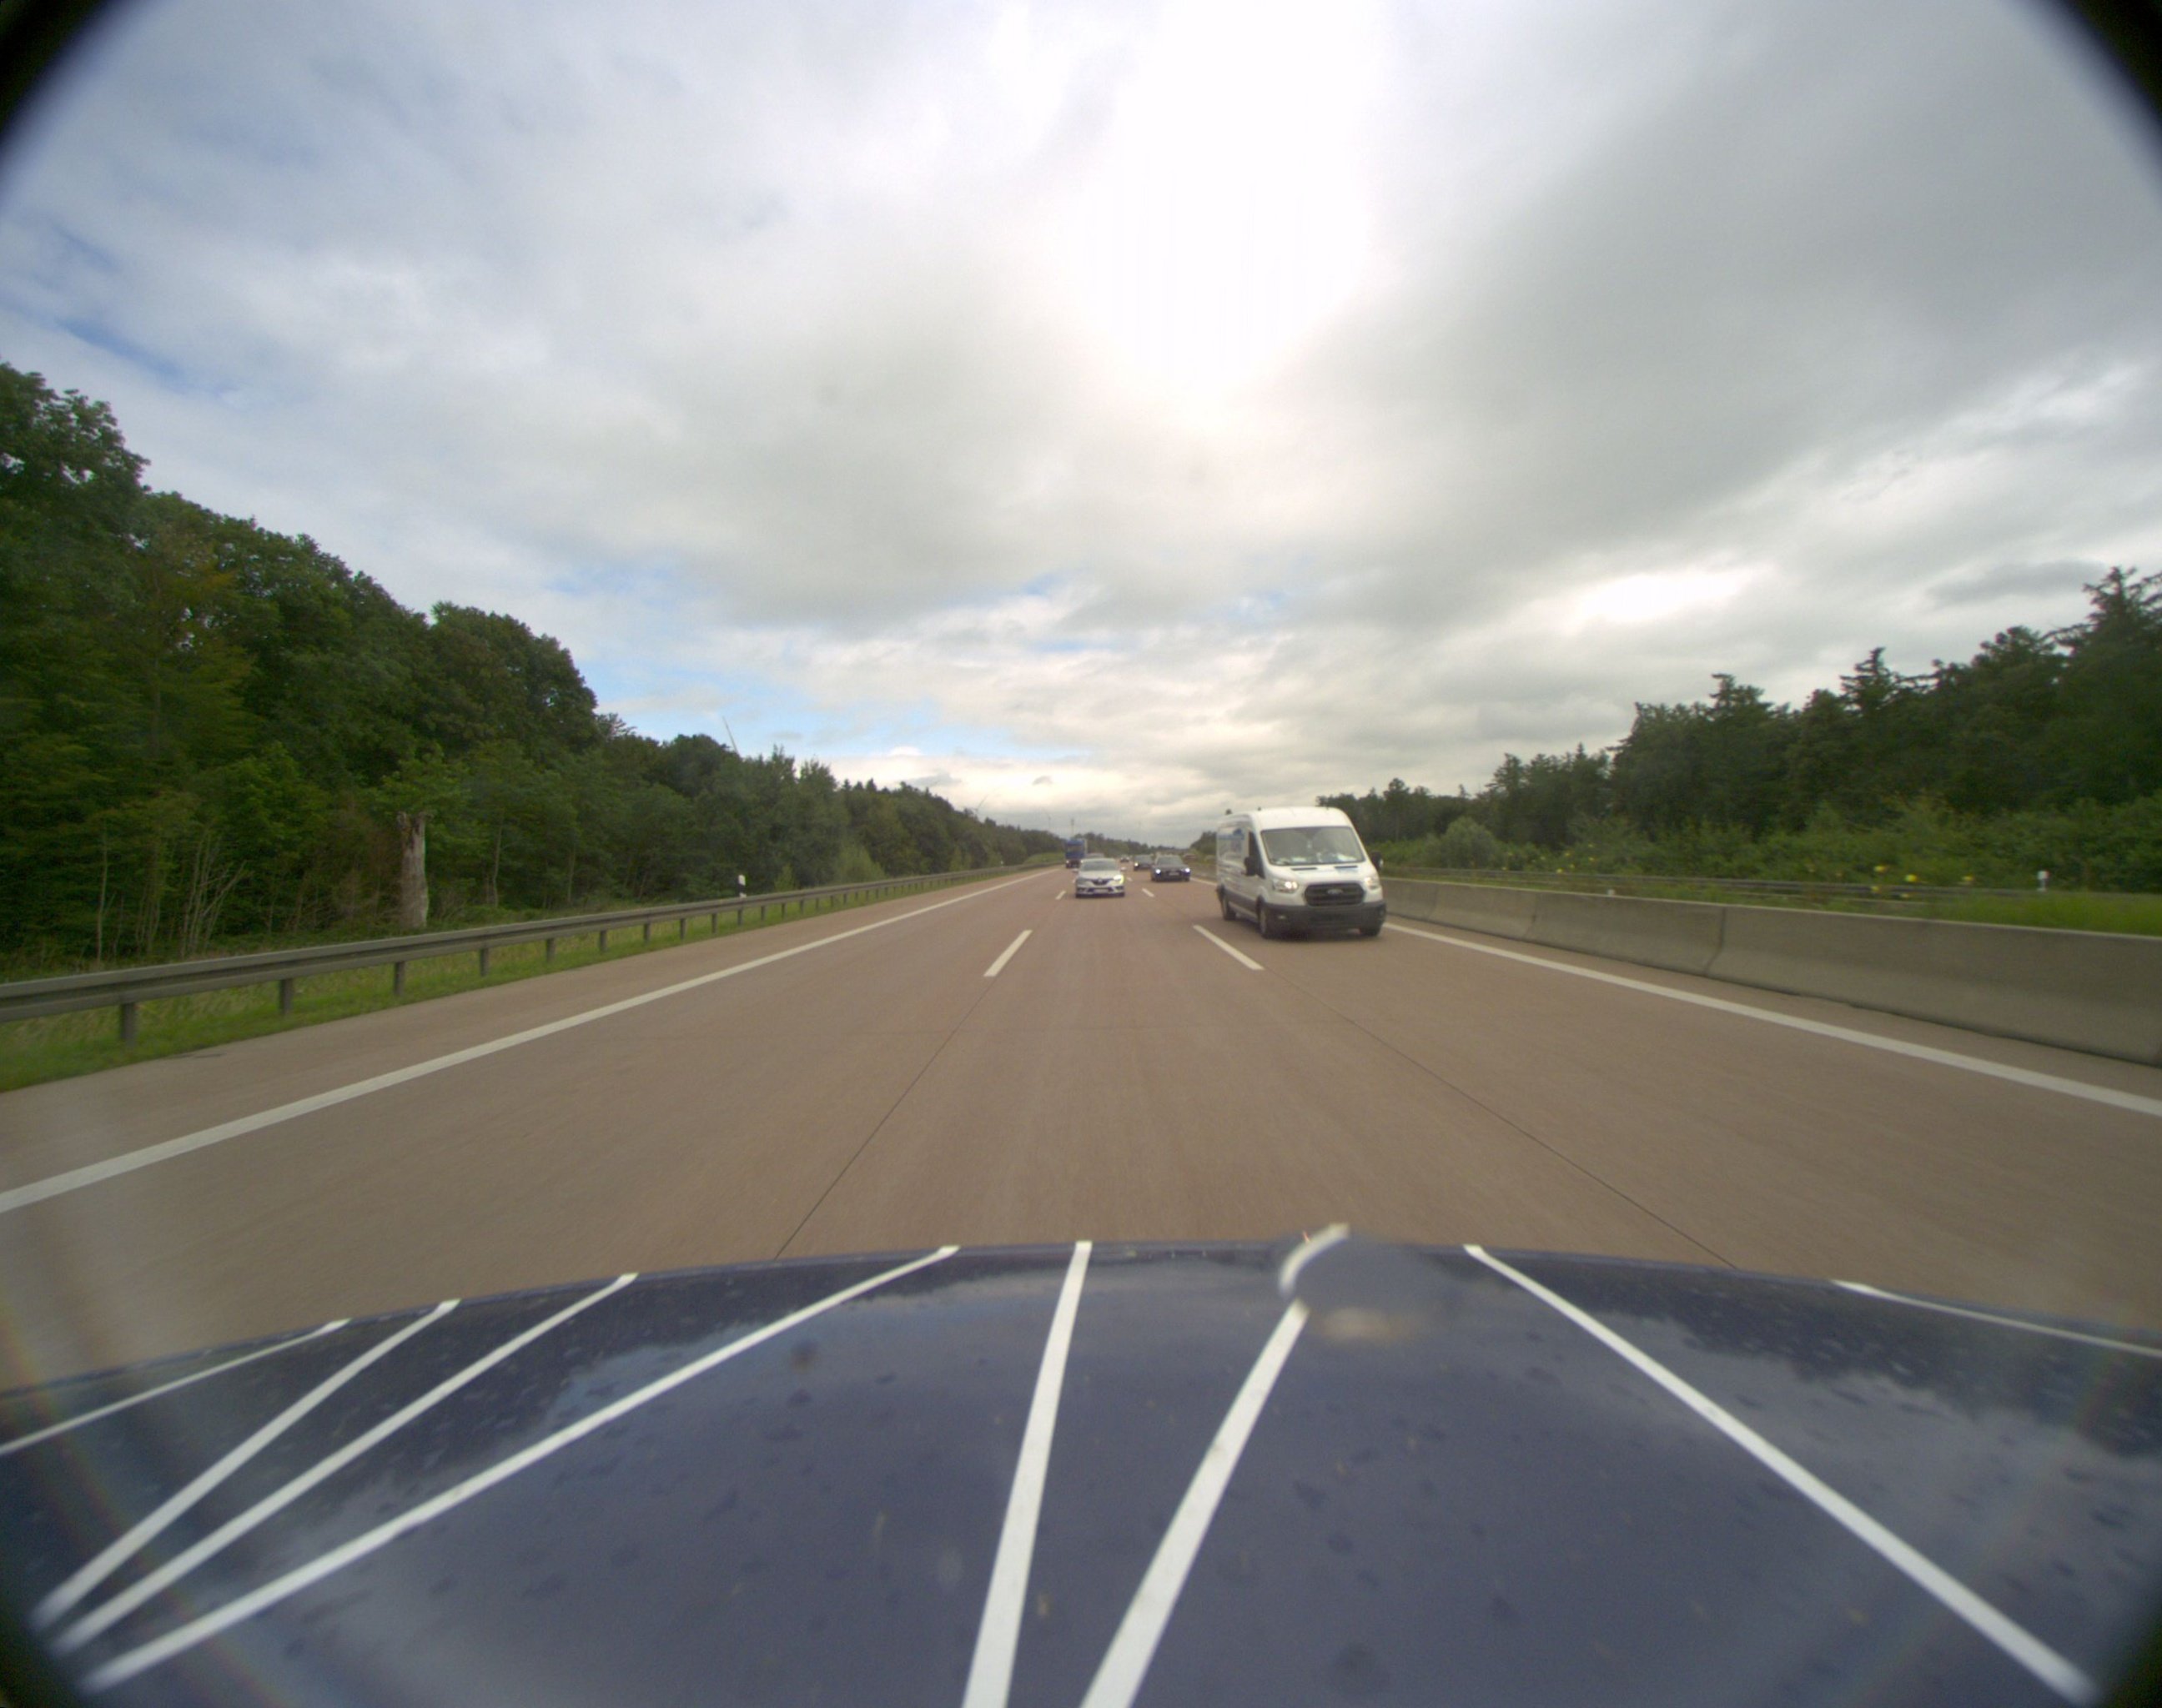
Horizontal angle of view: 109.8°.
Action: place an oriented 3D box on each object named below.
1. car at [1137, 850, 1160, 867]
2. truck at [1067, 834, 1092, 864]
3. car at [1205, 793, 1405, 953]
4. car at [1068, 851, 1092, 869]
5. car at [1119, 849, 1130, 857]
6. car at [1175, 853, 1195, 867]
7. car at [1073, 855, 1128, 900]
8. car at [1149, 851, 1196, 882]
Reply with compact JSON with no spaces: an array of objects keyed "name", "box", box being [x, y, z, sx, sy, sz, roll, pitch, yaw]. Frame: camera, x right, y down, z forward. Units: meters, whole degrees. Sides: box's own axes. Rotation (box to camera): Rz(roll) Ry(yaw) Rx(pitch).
[{"name":"car","box":[6.430,0.365,72.878,2.063,1.483,5.454,-2,1,4]},{"name":"truck","box":[-0.265,-0.647,103.798,2.956,3.705,7.948,-4,0,-1]},{"name":"car","box":[4.132,0.294,15.634,2.143,2.492,7.131,-1,0,1]},{"name":"car","box":[-0.047,0.506,67.577,1.986,1.499,4.052,-2,1,1]},{"name":"car","box":[9.068,-0.228,158.875,1.999,1.689,5.251,-2,1,-1]},{"name":"car","box":[13.989,0.750,102.539,1.968,1.665,4.430,-4,0,1]},{"name":"car","box":[0.741,0.853,28.972,1.923,1.516,4.000,-2,0,1]},{"name":"car","box":[5.111,0.629,43.108,2.090,1.541,5.674,-2,0,2]}]
